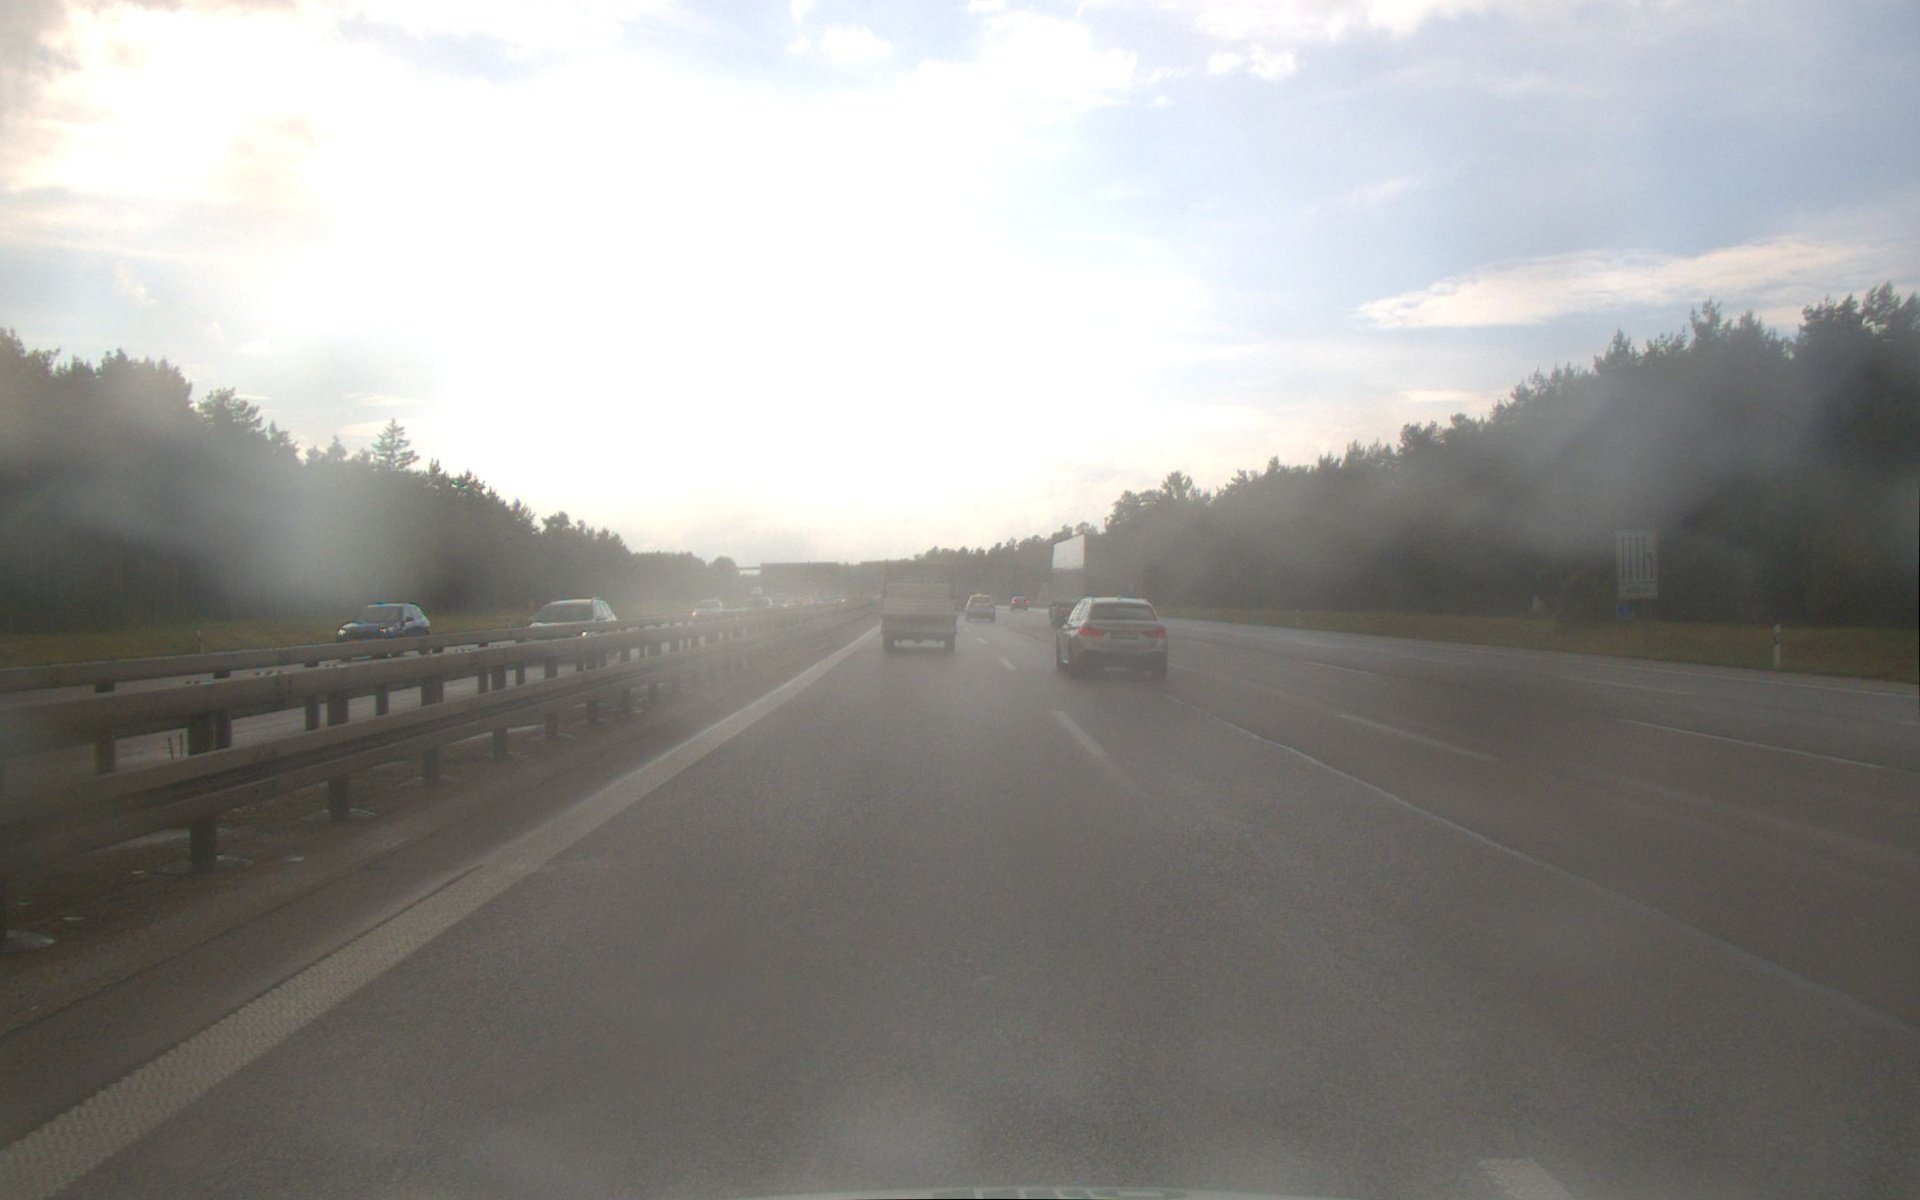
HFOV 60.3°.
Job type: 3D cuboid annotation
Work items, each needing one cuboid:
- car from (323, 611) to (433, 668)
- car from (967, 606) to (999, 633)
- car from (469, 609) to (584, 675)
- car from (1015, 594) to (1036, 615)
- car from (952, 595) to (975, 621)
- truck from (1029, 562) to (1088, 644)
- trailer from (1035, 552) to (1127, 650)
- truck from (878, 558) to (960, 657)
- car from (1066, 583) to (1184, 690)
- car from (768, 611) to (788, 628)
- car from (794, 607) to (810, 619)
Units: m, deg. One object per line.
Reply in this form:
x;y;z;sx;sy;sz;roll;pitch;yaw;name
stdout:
-18.046;1.195;51.525;1.862;1.575;4.511;-3;0;-1;car
1.330;1.113;96.872;1.793;1.492;4.000;1;0;0;car
-9.844;0.921;37.835;1.658;1.400;3.999;0;0;-1;car
6.920;0.479;175.368;1.953;2.049;3.999;2;0;-1;car
0.276;0.657;137.464;1.869;2.049;3.999;1;0;-1;car
4.856;0.157;82.483;2.248;3.936;5.387;0;0;-4;truck
5.341;0.074;75.445;2.278;4.072;13.400;0;0;-4;trailer
-1.124;0.203;45.482;2.094;2.533;5.311;1;0;-2;truck
3.149;0.676;32.389;2.034;1.918;5.013;1;0;3;car
-17.357;1.851;158.006;1.694;1.507;3.997;-1;0;-3;car
-19.998;1.635;209.046;1.775;1.447;4.234;-3;0;-2;car
